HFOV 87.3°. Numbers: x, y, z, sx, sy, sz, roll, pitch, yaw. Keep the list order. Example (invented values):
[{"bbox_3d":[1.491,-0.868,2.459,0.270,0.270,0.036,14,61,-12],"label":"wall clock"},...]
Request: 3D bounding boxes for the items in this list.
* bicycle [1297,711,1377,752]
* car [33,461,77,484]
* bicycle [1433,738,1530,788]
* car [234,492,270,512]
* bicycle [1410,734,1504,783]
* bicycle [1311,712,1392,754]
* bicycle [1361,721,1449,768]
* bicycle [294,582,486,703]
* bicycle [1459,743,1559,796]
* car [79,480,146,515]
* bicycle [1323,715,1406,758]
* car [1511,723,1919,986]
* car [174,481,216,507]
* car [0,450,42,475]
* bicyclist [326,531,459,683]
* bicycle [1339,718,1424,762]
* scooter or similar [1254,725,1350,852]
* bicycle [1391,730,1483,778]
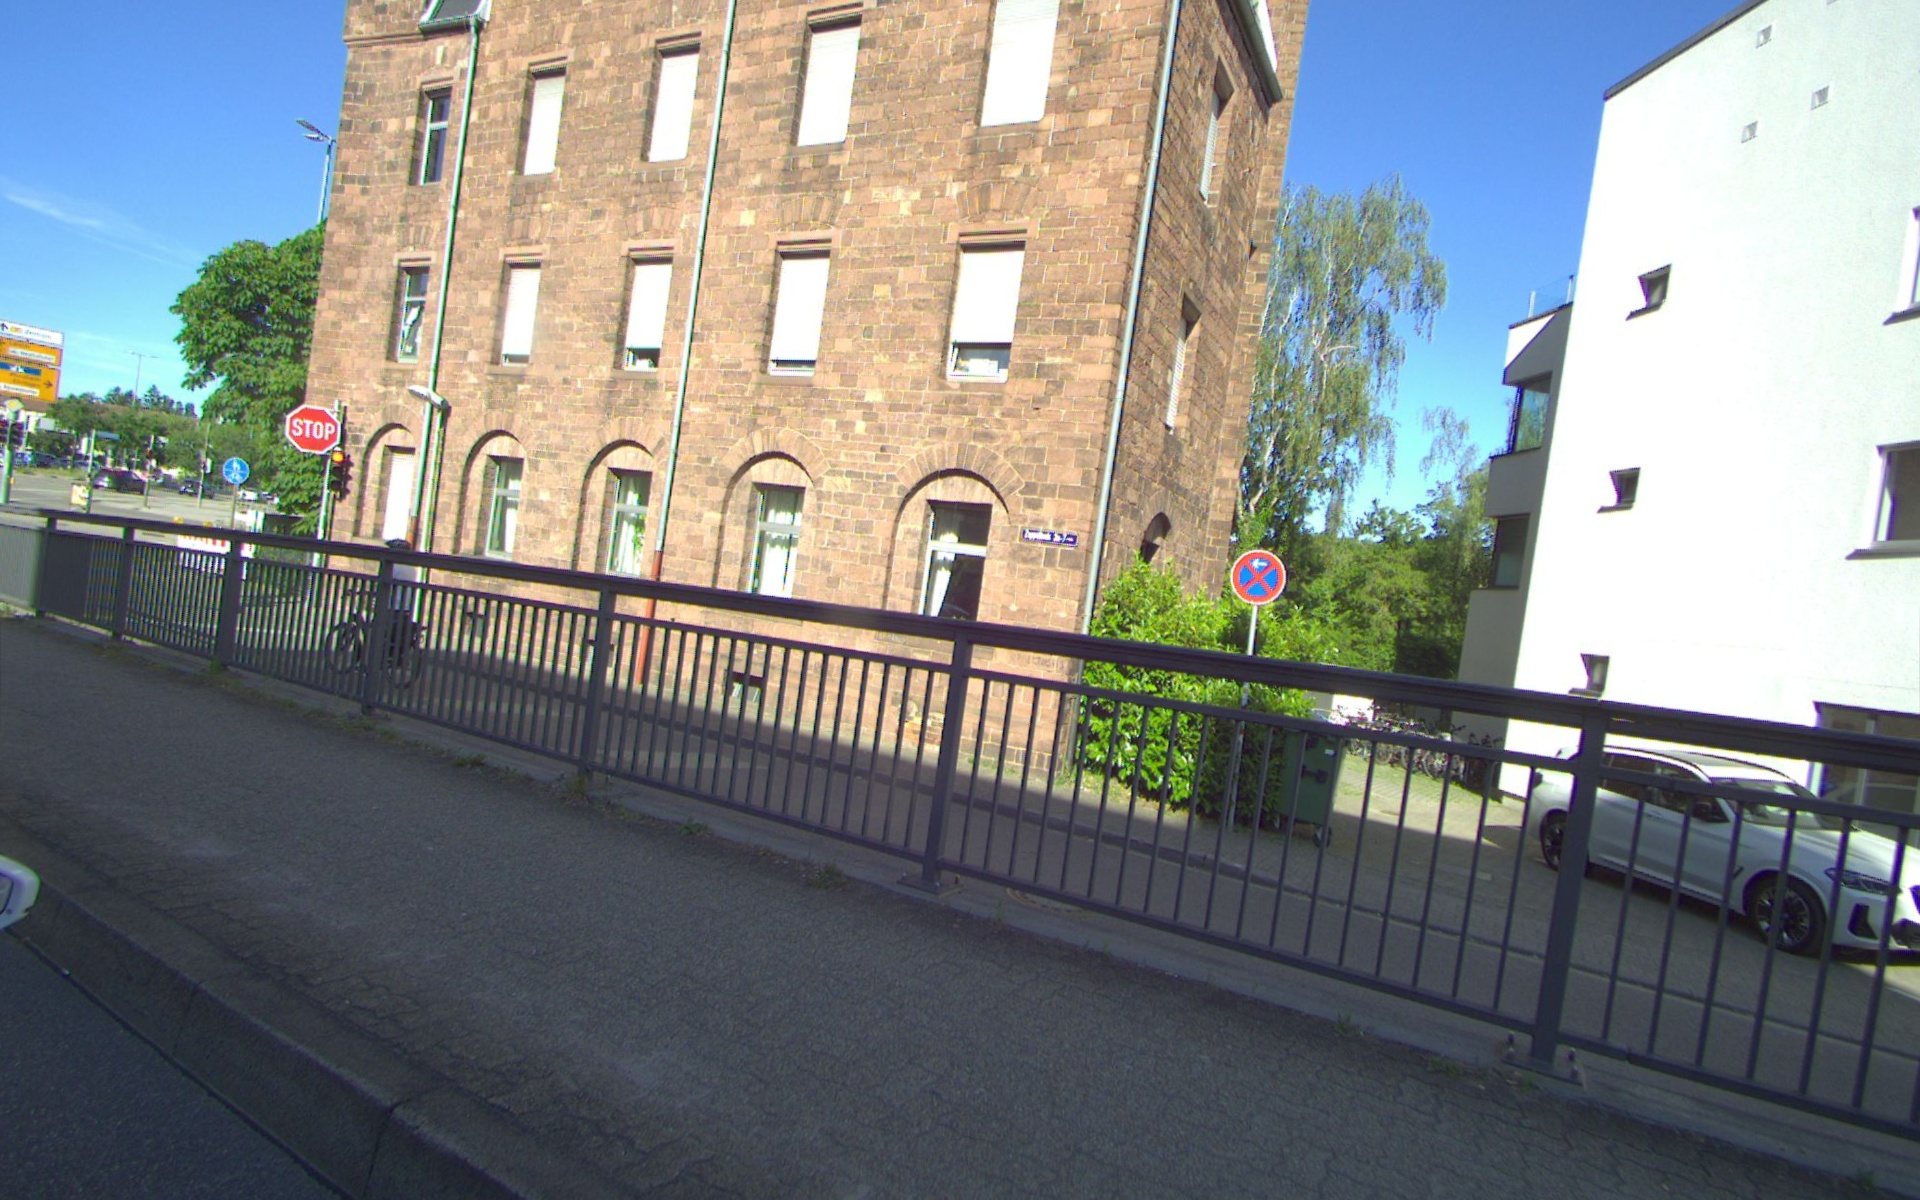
[{"bbox_3d":[9.922,3.452,26.472,2.021,0.897,0.493,6,1,-19],"label":"bicycle"},{"bbox_3d":[-85.654,-12.056,95.261,1.978,1.469,3.974,9,-2,-27],"label":"car"},{"bbox_3d":[11.075,3.465,21.351,2.021,0.897,0.493,6,1,-19],"label":"bicycle"},{"bbox_3d":[-74.110,-10.283,105.357,1.973,1.660,3.978,8,1,-21],"label":"car"},{"bbox_3d":[10.853,3.467,21.958,2.021,0.897,0.493,6,1,-19],"label":"bicycle"},{"bbox_3d":[10.059,3.430,25.859,2.021,0.897,0.493,6,1,-19],"label":"bicycle"},{"bbox_3d":[10.426,3.388,23.571,2.021,0.897,0.493,6,1,-19],"label":"bicycle"},{"bbox_3d":[-7.200,0.523,12.681,2.359,1.124,0.802,9,0,26],"label":"bicycle"},{"bbox_3d":[11.247,3.473,20.594,2.021,0.897,0.493,6,1,-19],"label":"bicycle"},{"bbox_3d":[-61.074,-7.331,72.548,1.969,1.814,3.991,8,-2,-14],"label":"car"},{"bbox_3d":[10.172,3.423,25.266,2.021,0.897,0.493,6,1,-19],"label":"bicycle"},{"bbox_3d":[8.738,2.641,11.355,1.797,1.788,4.644,7,-1,-9],"label":"car"},{"bbox_3d":[-67.981,-9.415,89.455,1.975,1.816,3.975,7,1,-24],"label":"car"},{"bbox_3d":[-78.177,-11.395,83.443,1.804,1.602,4.075,8,1,-27],"label":"car"},{"bbox_3d":[-7.144,0.098,12.676,1.066,1.725,0.801,8,0,26],"label":"bicyclist"},{"bbox_3d":[10.273,3.407,24.511,2.021,0.897,0.493,6,1,-19],"label":"bicycle"},{"bbox_3d":[4.011,2.149,11.731,0.771,1.232,1.463,9,-2,25],"label":"scooter or similar"},{"bbox_3d":[10.678,3.453,22.503,2.021,0.897,0.493,6,1,-19],"label":"bicycle"}]
